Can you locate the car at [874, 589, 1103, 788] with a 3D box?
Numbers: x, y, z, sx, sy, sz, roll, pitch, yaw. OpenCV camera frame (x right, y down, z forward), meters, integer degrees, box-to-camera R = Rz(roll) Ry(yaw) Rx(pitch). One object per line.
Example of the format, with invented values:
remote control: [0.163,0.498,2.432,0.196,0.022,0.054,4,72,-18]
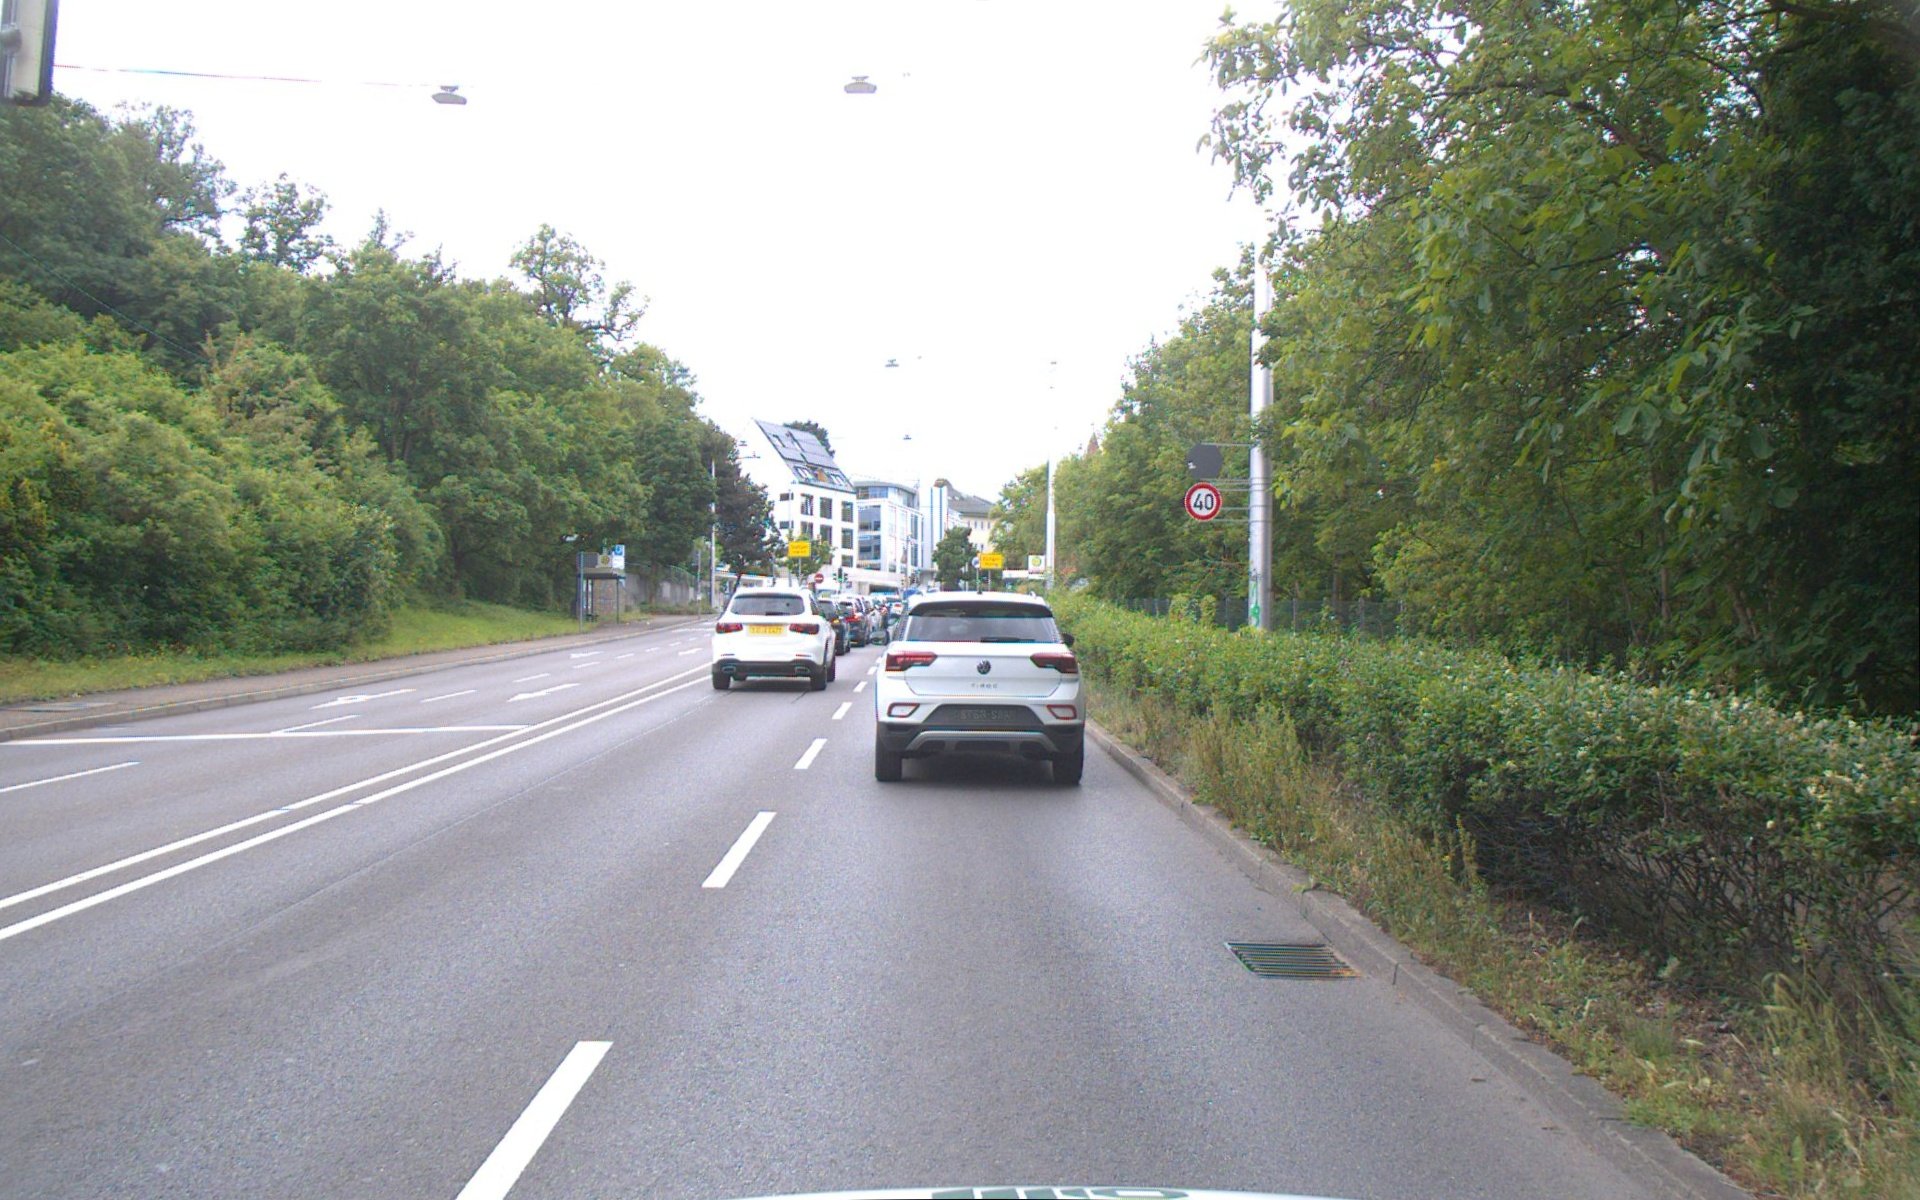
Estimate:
car: [0.178,0.693,15.002,1.792,1.552,3.999,0,0,-1]

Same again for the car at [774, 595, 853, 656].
car: [-3.822,0.637,43.602,1.792,1.523,3.999,-1,0,-1]

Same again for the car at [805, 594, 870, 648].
car: [-3.743,0.617,51.085,1.792,1.552,3.999,-1,0,-1]

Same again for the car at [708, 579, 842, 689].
car: [-3.025,0.537,27.797,1.879,1.699,3.999,1,0,-1]

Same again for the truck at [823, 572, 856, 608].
truck: [-10.825,-0.870,148.848,2.245,3.104,6.980,-1,0,2]

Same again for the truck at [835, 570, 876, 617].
truck: [-6.610,-0.402,104.979,2.314,2.830,4.476,-2,0,-1]

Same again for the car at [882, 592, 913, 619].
car: [-3.837,0.327,102.061,1.792,1.552,3.999,-1,0,-1]

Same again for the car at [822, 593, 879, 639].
car: [-3.831,0.550,58.435,1.792,1.552,3.999,-1,0,-1]

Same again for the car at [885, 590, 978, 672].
car: [-0.605,0.603,34.316,1.792,1.552,3.999,-1,0,-1]

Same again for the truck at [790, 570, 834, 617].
truck: [-8.960,-0.379,100.321,2.314,2.754,4.476,-2,0,-1]

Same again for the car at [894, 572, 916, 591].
car: [-4.545,-1.514,136.634,1.792,1.552,3.999,-1,0,-1]

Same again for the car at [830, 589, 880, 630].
car: [-4.161,0.352,66.115,1.792,1.552,3.999,-1,0,-1]

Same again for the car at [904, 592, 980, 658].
car: [-0.479,0.592,41.323,1.792,1.552,3.999,-1,0,-1]
